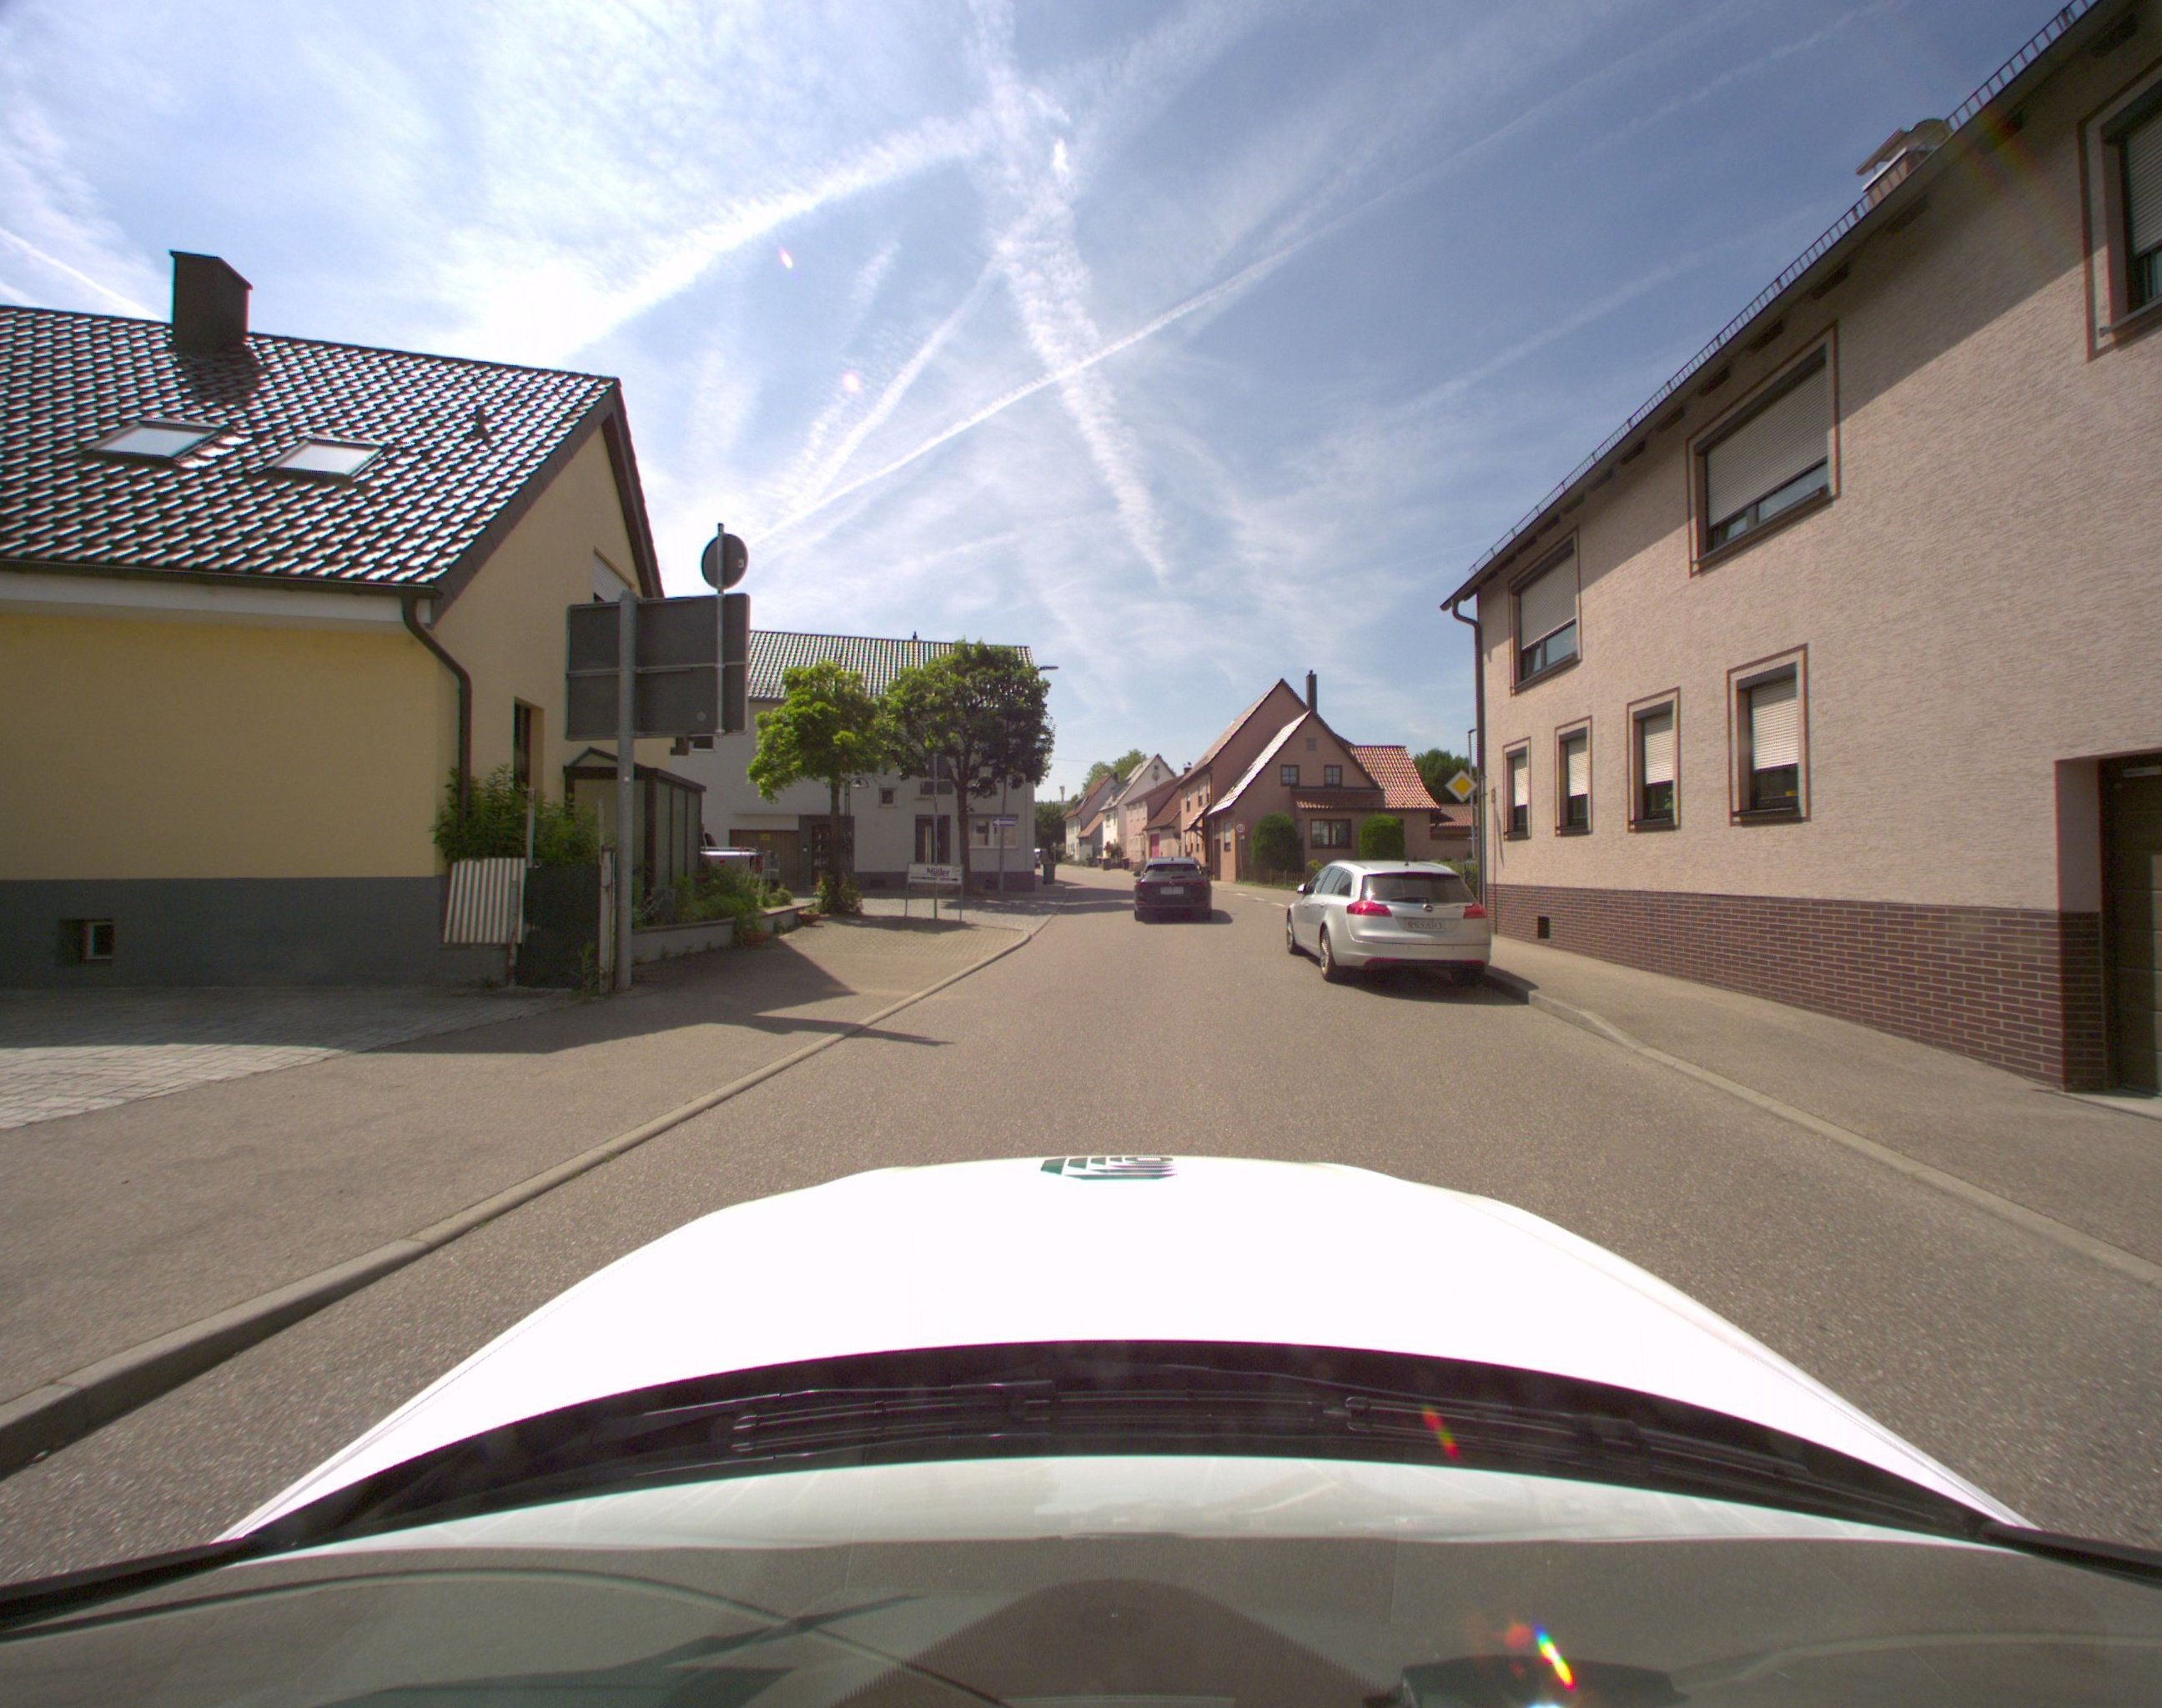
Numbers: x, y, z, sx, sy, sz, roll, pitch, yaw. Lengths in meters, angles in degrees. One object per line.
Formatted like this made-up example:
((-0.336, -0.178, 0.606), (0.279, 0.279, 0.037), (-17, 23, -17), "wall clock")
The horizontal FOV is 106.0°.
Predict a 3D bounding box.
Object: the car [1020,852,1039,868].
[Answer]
((-5.233, 0.605, 82.139), (1.797, 1.555, 4.063), (-1, 0, -5), "car")

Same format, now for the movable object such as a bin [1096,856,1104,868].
((1.891, 0.752, 80.727), (0.665, 1.194, 0.658), (0, 0, -10), "movable object such as a bin")

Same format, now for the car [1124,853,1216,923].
((2.327, 0.747, 20.096), (1.829, 1.420, 4.697), (-2, 0, 11), "car")

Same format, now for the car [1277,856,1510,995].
((3.871, 0.766, 10.923), (1.777, 1.442, 4.343), (1, 0, 5), "car")

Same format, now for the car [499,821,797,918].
((-8.958, 0.305, 17.317), (5.098, 1.896, 2.171), (0, 0, -6), "car")

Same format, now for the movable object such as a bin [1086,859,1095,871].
((0.953, 1.084, 80.833), (0.679, 1.155, 0.816), (1, -1, -14), "movable object such as a bin")

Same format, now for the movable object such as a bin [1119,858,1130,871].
((3.816, 0.905, 70.687), (0.679, 1.050, 0.831), (-4, 1, -14), "movable object such as a bin")

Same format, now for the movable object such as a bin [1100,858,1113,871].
((2.213, 0.960, 71.644), (0.877, 1.074, 0.868), (-4, 1, -14), "movable object such as a bin")

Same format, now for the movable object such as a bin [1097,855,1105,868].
((1.983, 0.740, 79.874), (0.665, 1.194, 0.586), (0, 0, -10), "movable object such as a bin")

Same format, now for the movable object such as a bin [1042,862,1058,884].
((-1.459, 0.895, 38.524), (0.752, 1.060, 0.679), (0, 0, -4), "movable object such as a bin")
